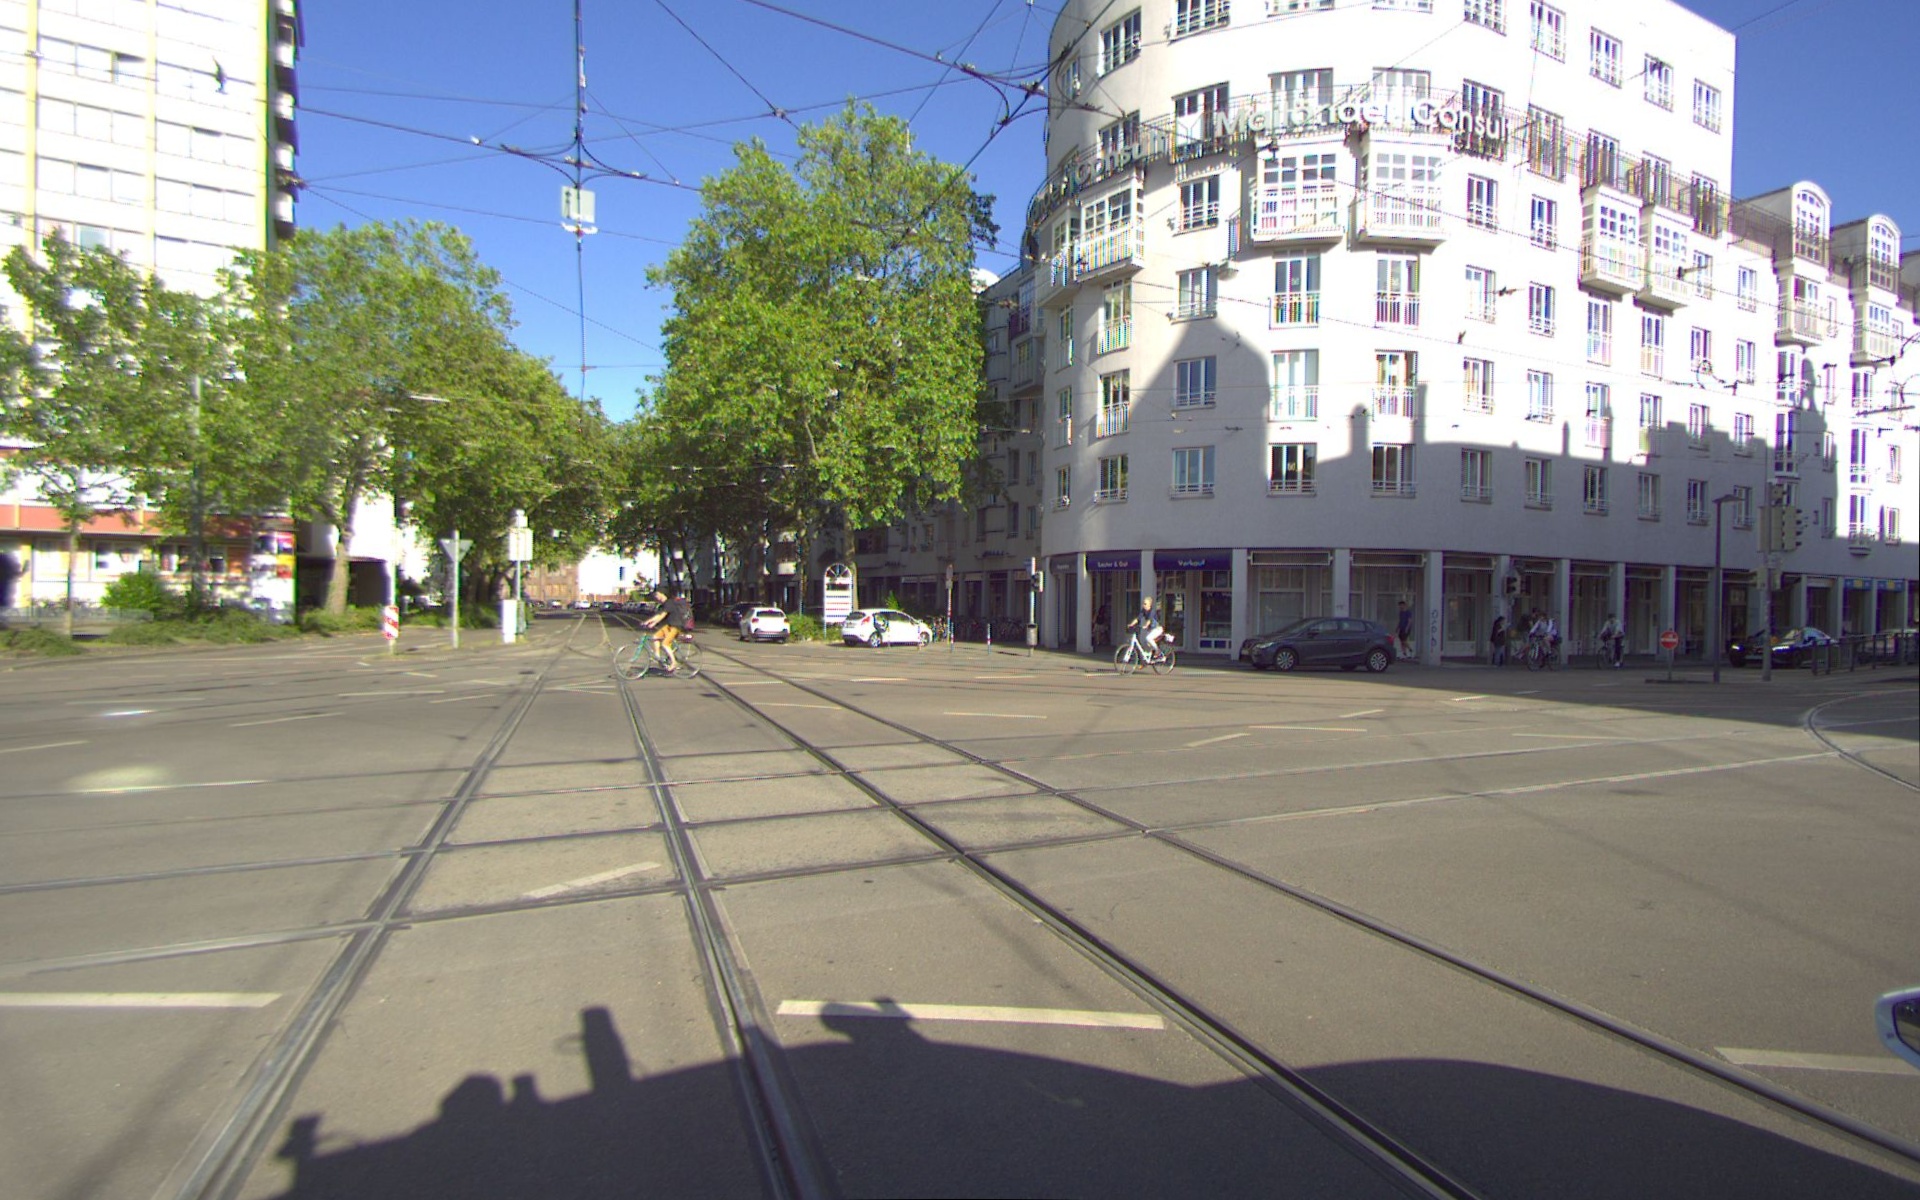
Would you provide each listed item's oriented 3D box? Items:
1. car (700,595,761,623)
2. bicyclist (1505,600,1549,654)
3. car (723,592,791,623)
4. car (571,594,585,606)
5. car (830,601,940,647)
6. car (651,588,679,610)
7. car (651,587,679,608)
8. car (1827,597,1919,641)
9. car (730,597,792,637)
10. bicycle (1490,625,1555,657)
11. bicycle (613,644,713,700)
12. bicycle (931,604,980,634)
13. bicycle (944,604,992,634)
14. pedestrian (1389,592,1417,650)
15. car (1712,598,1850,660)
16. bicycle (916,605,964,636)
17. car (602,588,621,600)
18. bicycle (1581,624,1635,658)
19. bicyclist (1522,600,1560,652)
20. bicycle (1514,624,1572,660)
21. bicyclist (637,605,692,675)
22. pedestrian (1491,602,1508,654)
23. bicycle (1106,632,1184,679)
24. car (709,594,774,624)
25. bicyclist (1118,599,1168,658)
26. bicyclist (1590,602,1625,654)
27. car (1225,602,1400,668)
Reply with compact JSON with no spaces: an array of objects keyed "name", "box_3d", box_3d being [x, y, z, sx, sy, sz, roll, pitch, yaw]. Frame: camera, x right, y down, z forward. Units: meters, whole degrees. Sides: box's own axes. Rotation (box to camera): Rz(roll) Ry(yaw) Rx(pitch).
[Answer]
[{"name":"car","box_3d":[-16.815,0.634,73.607,3.953,1.907,1.808,-2,2,-30]},{"name":"bicyclist","box_3d":[18.510,0.859,32.812,1.009,1.718,0.724,0,2,0]},{"name":"car","box_3d":[-13.102,0.463,64.897,3.953,1.907,1.808,-2,2,-30]},{"name":"car","box_3d":[-66.995,-0.045,176.176,1.819,2.041,3.969,-2,2,-29]},{"name":"car","box_3d":[-2.906,0.902,39.422,4.070,1.422,1.781,-5,4,-42]},{"name":"car","box_3d":[-28.783,-0.107,97.928,1.973,2.041,3.973,0,1,-26]},{"name":"car","box_3d":[-30.516,-0.292,103.857,1.975,2.041,3.970,0,1,-28]},{"name":"car","box_3d":[36.797,0.726,40.241,4.350,1.535,1.721,-1,2,-29]},{"name":"car","box_3d":[-8.623,0.699,43.362,1.778,1.422,3.984,-3,3,-23]},{"name":"bicycle","box_3d":[18.395,1.330,32.876,1.727,0.993,0.678,0,2,0]},{"name":"bicycle","box_3d":[-5.749,1.377,19.466,1.794,0.985,0.591,0,1,-28]},{"name":"bicycle","box_3d":[-0.239,0.839,45.366,0.593,1.251,2.864,-4,3,-36]},{"name":"bicycle","box_3d":[0.341,0.845,45.866,0.593,1.251,2.864,-4,3,-36]},{"name":"pedestrian","box_3d":[14.642,0.695,33.223,0.734,1.857,0.459,-3,3,-20]},{"name":"car","box_3d":[28.850,0.952,35.285,4.552,1.937,2.217,-1,2,-29]},{"name":"bicycle","box_3d":[-0.916,0.909,44.828,0.593,1.251,2.864,-4,3,-36]},{"name":"car","box_3d":[-48.373,-0.845,139.442,1.974,1.740,3.972,0,1,-27]},{"name":"bicycle","box_3d":[20.602,1.289,31.918,2.023,0.985,0.591,0,1,-30]},{"name":"bicyclist","box_3d":[17.292,0.752,29.913,0.917,1.508,0.585,-1,1,-30]},{"name":"bicycle","box_3d":[17.405,1.248,29.970,1.988,0.985,0.591,0,1,-30]},{"name":"bicyclist","box_3d":[-5.721,0.766,19.447,0.915,1.302,0.586,0,1,-28]},{"name":"pedestrian","box_3d":[16.790,0.861,31.275,0.434,1.555,0.683,0,3,25]},{"name":"bicycle","box_3d":[4.263,1.262,23.125,1.833,0.985,0.591,0,1,-30]},{"name":"car","box_3d":[-14.973,0.618,68.868,3.953,1.907,1.808,-2,2,-30]},{"name":"bicyclist","box_3d":[4.201,0.636,23.070,0.980,1.302,0.585,-1,1,-31]},{"name":"bicyclist","box_3d":[20.531,0.865,31.841,0.885,1.607,0.585,-1,1,-30]},{"name":"car","box_3d":[9.327,0.892,26.705,3.929,1.617,1.996,0,1,-11]}]
